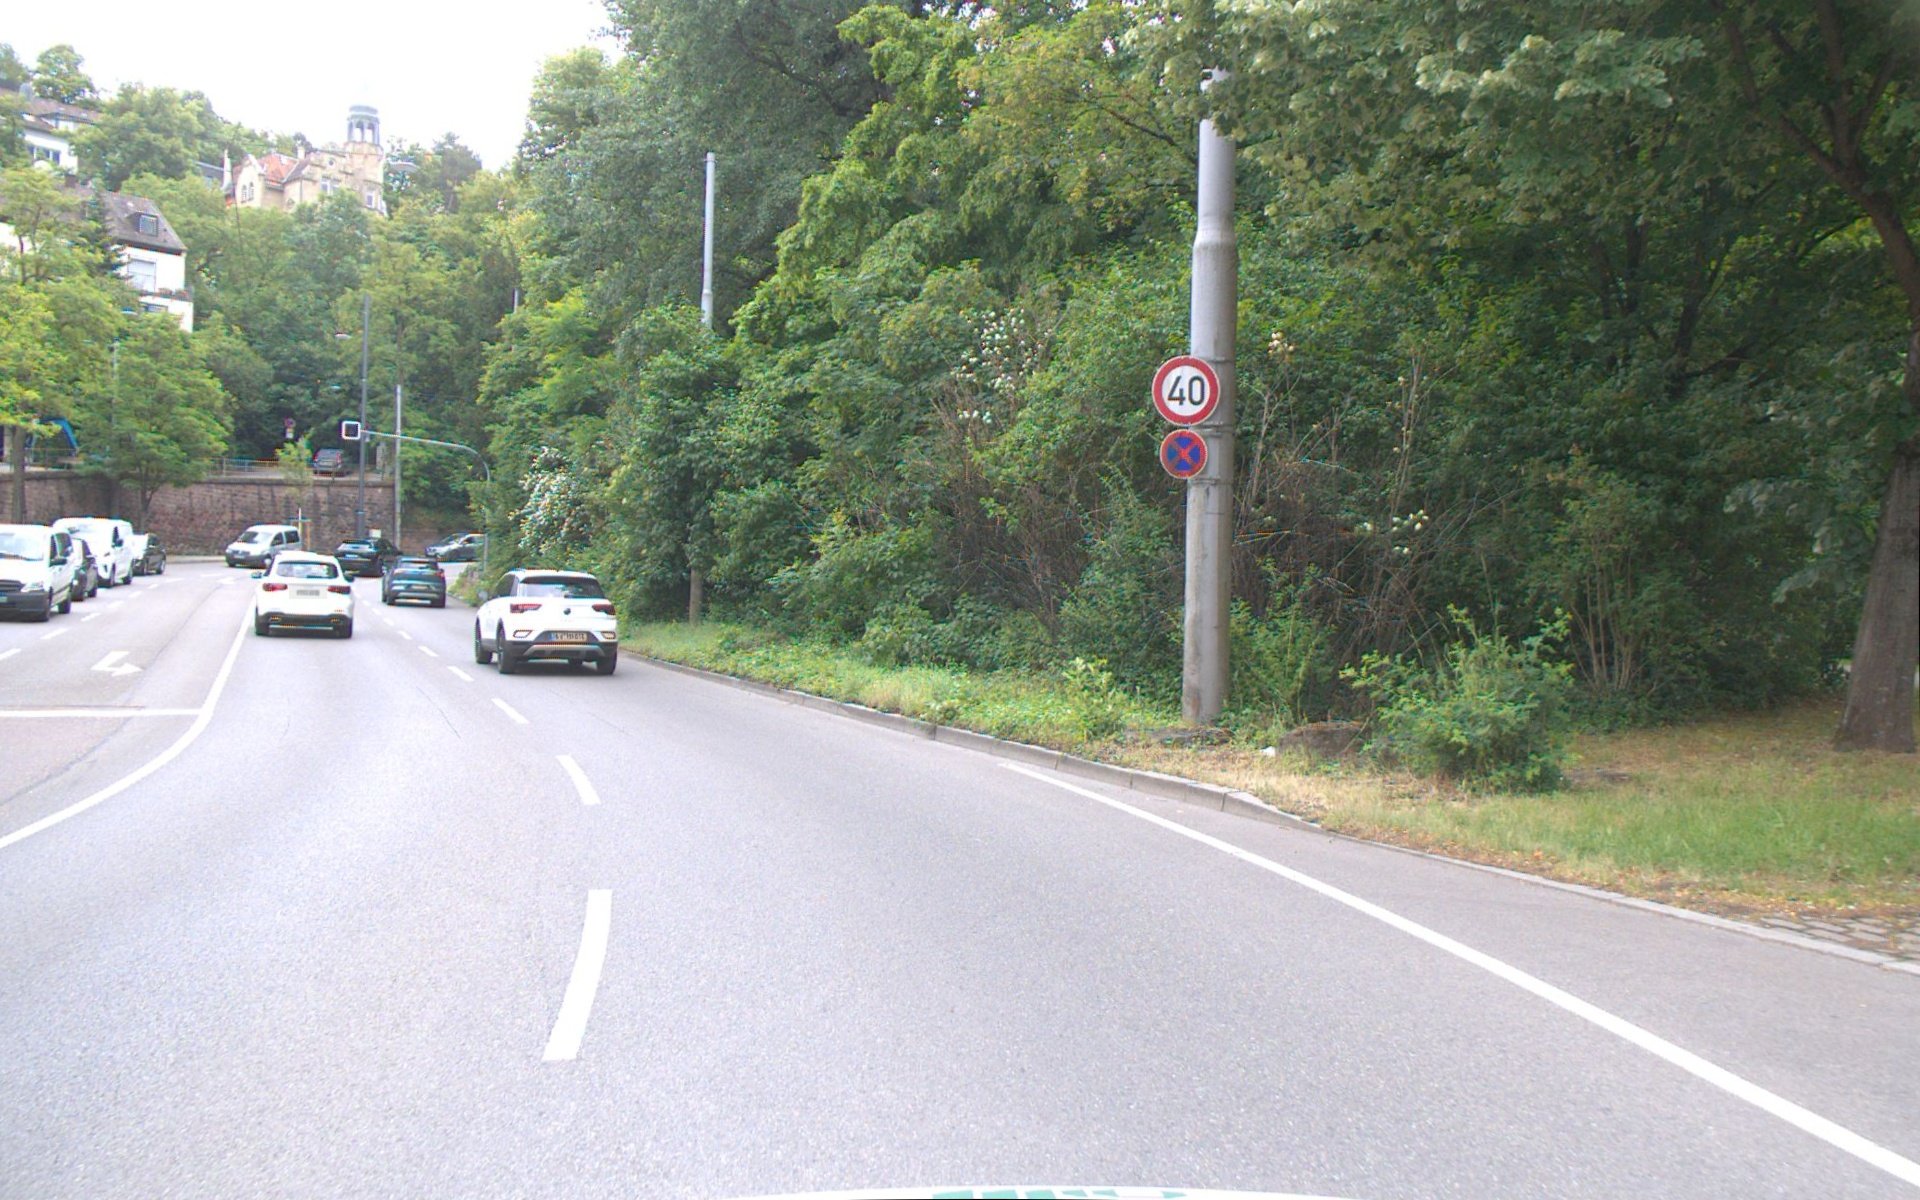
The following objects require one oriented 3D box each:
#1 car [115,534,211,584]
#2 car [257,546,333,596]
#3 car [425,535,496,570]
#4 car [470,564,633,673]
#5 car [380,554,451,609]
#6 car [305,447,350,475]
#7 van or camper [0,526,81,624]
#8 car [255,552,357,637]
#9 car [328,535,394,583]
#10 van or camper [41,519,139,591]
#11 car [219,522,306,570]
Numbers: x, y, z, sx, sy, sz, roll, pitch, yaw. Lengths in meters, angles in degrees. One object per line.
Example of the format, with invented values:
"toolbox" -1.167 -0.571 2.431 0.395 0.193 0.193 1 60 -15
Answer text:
"car" -29.767 -1.557 61.913 1.957 1.645 4.321 5 1 -9
"car" -21.856 -0.969 54.398 2.216 1.545 4.279 1 2 -22
"car" -27.146 -2.563 89.941 1.904 1.722 4.289 4 1 9
"car" -6.577 0.259 26.351 1.840 1.583 3.865 2 0 -24
"car" -17.715 -0.621 53.706 1.836 1.660 3.931 -2 2 -23
"car" -37.945 -8.365 99.307 1.959 1.511 3.991 1 5 -12
"van or camper" -20.163 -0.596 35.296 1.967 1.928 5.418 2 1 -23
"car" -13.788 -0.145 34.766 1.852 1.680 4.309 0 1 -24
"car" -26.719 -1.832 73.916 2.151 2.048 3.989 -1 1 -11
"van or camper" -26.969 -1.413 51.440 1.965 2.048 5.528 2 1 -21
"car" -31.223 -2.396 74.153 1.906 1.830 4.286 4 0 1
